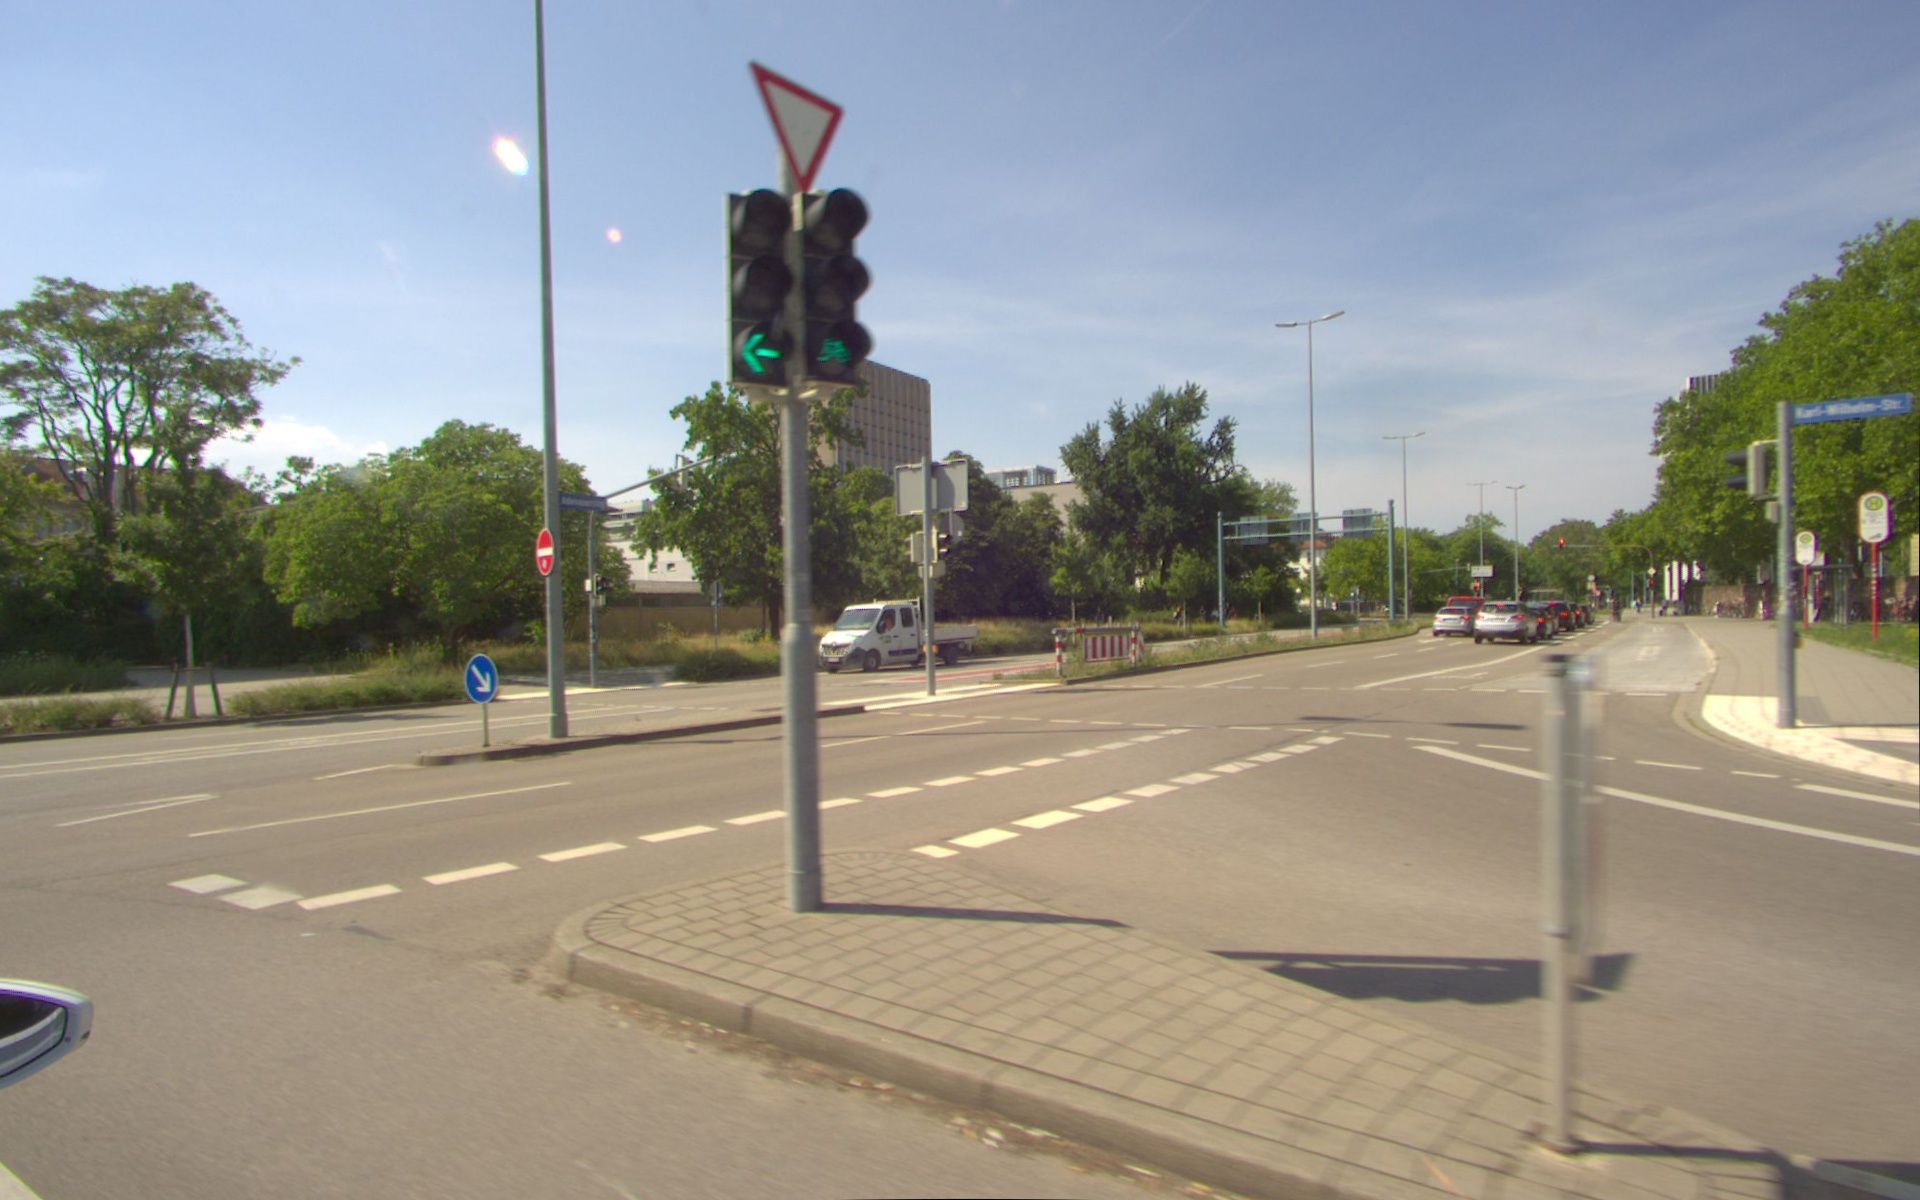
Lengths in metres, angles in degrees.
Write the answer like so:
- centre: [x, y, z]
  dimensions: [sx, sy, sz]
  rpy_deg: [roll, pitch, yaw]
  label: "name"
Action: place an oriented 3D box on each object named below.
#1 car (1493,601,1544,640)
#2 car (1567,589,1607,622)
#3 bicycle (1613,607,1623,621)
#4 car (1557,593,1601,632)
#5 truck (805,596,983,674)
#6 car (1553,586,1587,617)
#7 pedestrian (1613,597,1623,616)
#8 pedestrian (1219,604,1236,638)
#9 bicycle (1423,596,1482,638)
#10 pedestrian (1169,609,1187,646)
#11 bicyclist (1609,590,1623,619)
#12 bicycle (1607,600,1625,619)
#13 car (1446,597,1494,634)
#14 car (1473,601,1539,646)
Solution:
- centre: [24.869, 0.886, 44.650]
  dimensions: [1.558, 1.611, 3.988]
  rpy_deg: [-1, 0, 23]
  label: "car"
- centre: [39.335, 0.334, 62.895]
  dimensions: [1.971, 2.040, 3.980]
  rpy_deg: [-1, 0, 30]
  label: "car"
- centre: [50.659, 1.055, 77.099]
  dimensions: [0.552, 1.065, 1.318]
  rpy_deg: [-1, 0, 30]
  label: "bicycle"
- centre: [34.342, 0.676, 55.616]
  dimensions: [1.971, 2.040, 3.980]
  rpy_deg: [-1, 0, 30]
  label: "car"
- centre: [-2.082, 1.116, 34.717]
  dimensions: [2.380, 2.386, 7.008]
  rpy_deg: [-3, -1, 33]
  label: "truck"
- centre: [42.932, 0.103, 70.496]
  dimensions: [1.971, 2.040, 3.980]
  rpy_deg: [-1, 0, 30]
  label: "car"
- centre: [50.619, 0.524, 77.047]
  dimensions: [0.552, 1.458, 0.729]
  rpy_deg: [-1, 1, 30]
  label: "pedestrian"
- centre: [20.165, 1.599, 75.442]
  dimensions: [0.941, 2.565, 1.118]
  rpy_deg: [-1, -2, 33]
  label: "pedestrian"
- centre: [23.441, 0.786, 47.606]
  dimensions: [1.973, 1.839, 3.976]
  rpy_deg: [-2, -1, 34]
  label: "bicycle"
- centre: [15.384, 1.951, 70.725]
  dimensions: [0.941, 2.565, 1.118]
  rpy_deg: [-1, -2, 33]
  label: "pedestrian"
- centre: [48.517, 0.330, 74.052]
  dimensions: [0.769, 2.039, 1.265]
  rpy_deg: [-1, -2, 39]
  label: "bicyclist"
- centre: [48.557, 0.727, 74.112]
  dimensions: [0.838, 1.233, 3.463]
  rpy_deg: [-1, -3, 37]
  label: "bicycle"
- centre: [26.903, 0.795, 52.759]
  dimensions: [1.951, 1.821, 4.587]
  rpy_deg: [-1, 0, 31]
  label: "car"
- centre: [21.574, 0.878, 39.494]
  dimensions: [1.690, 1.639, 4.188]
  rpy_deg: [-1, 0, 37]
  label: "car"
